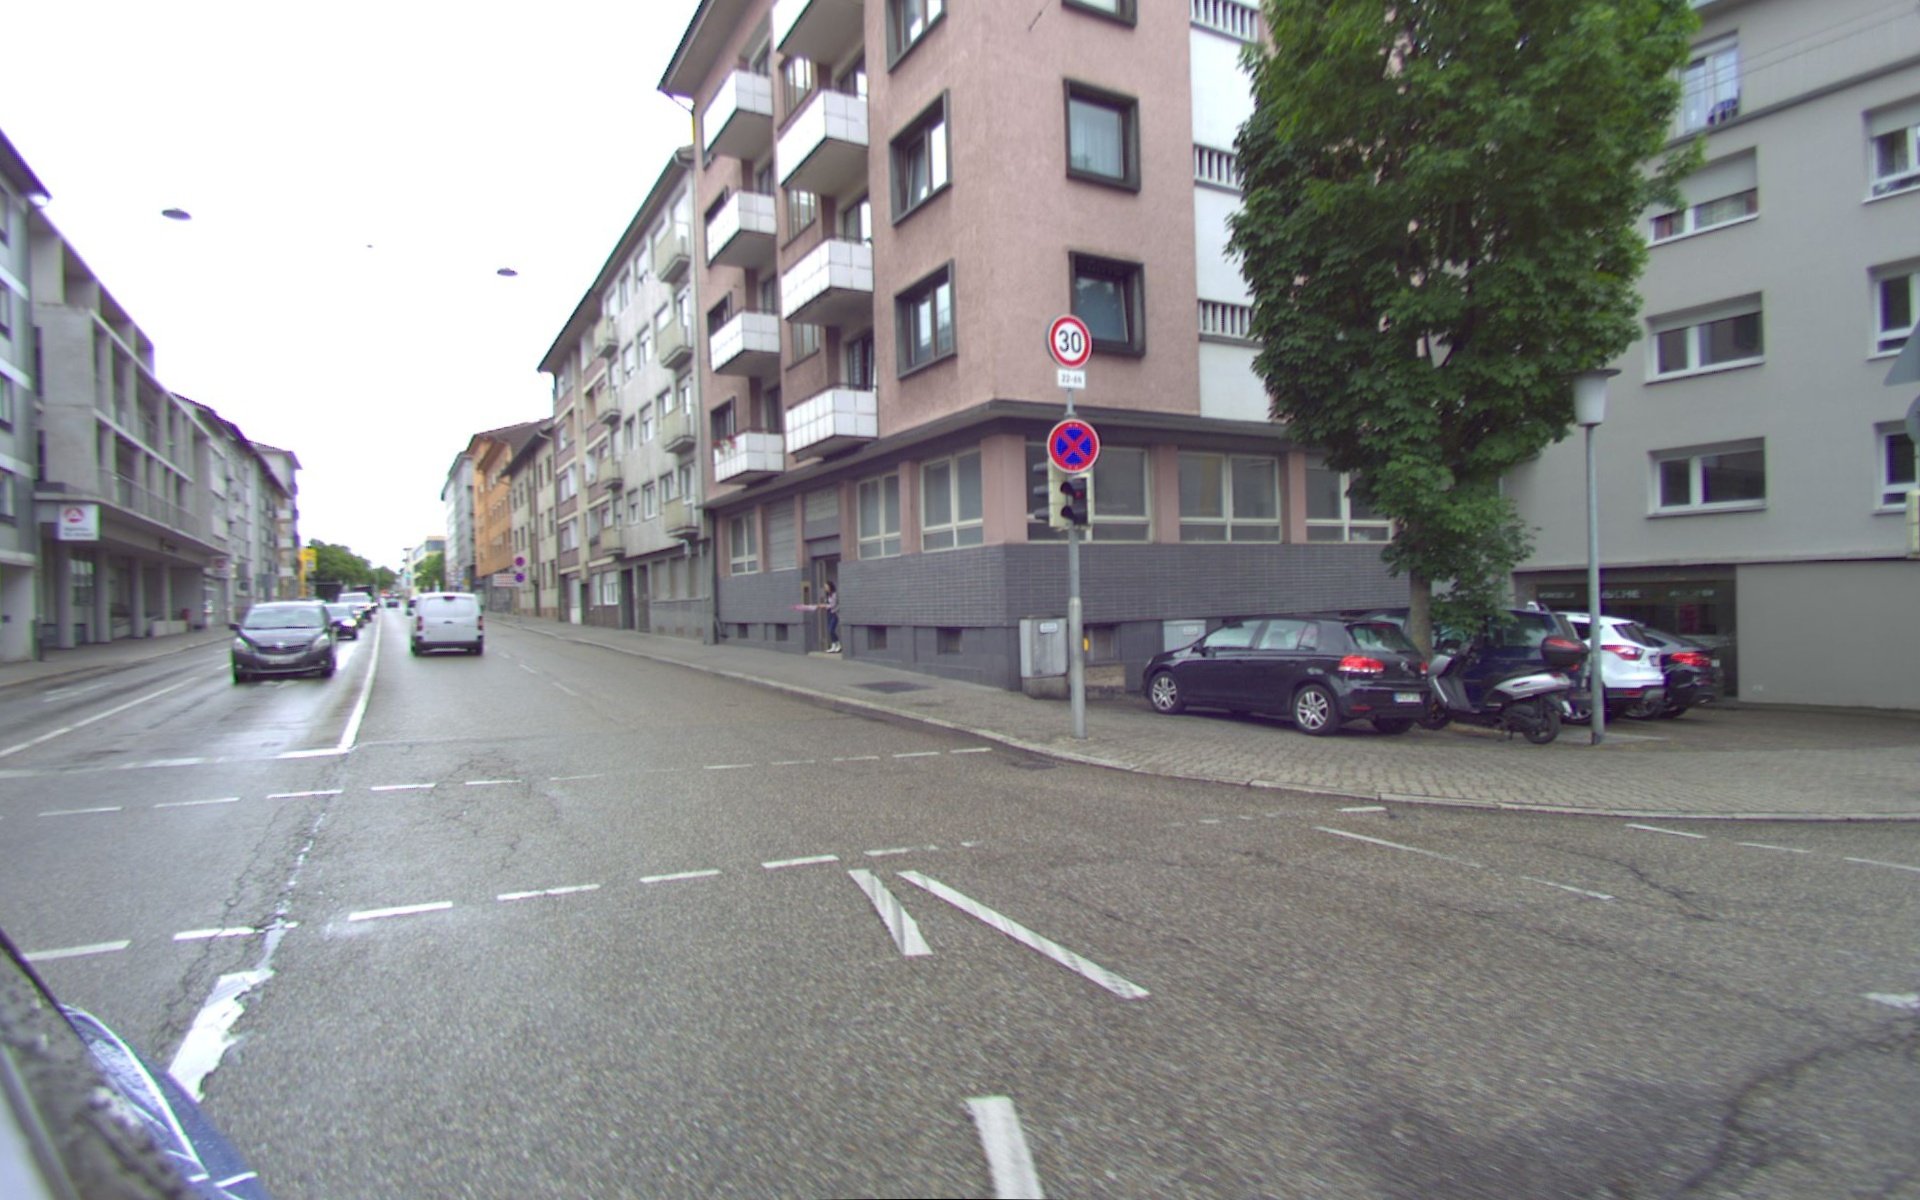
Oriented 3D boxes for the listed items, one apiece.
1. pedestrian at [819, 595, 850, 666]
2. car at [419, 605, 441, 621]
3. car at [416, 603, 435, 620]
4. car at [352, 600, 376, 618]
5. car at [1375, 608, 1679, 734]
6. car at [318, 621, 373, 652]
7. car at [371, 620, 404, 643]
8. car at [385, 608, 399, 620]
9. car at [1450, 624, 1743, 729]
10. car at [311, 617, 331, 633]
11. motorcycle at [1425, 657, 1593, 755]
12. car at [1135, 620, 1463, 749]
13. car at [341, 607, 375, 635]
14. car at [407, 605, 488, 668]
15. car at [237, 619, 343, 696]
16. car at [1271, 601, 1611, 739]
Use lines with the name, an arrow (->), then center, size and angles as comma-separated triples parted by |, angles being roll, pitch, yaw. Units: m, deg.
pedestrian -> -2.889, 0.695, 23.372 | 0.529, 1.569, 0.445 | 3, 6, 35
car -> -51.214, 1.232, 97.742 | 1.703, 1.472, 4.084 | 2, -1, -30
car -> -57.586, 1.193, 109.003 | 1.693, 1.674, 3.691 | -2, 1, -28
car -> -57.898, 0.849, 98.345 | 1.821, 1.674, 3.691 | -2, 1, -28
car -> 9.163, 1.105, 16.556 | 4.002, 1.807, 1.833 | -1, -5, 45
car -> -25.367, 1.478, 41.743 | 1.666, 1.157, 4.010 | 1, -1, -35
car -> -32.401, 1.763, 57.343 | 1.521, 1.076, 3.106 | -2, 1, -28
car -> -84.292, 2.033, 150.112 | 1.693, 1.674, 3.691 | -2, 1, -28
car -> 11.015, 1.271, 17.698 | 1.833, 1.507, 4.004 | 5, -3, -43
car -> -76.136, 2.934, 120.528 | 1.693, 1.674, 3.691 | -2, 1, -28
motorcycle -> 6.744, 1.265, 12.509 | 0.446, 1.040, 1.798 | 1, -1, -38
car -> 4.374, 1.029, 13.661 | 1.708, 1.370, 4.012 | 2, -1, -31
car -> -39.291, 1.367, 66.120 | 1.693, 1.674, 3.691 | -2, 1, -28
car -> -15.299, 1.052, 30.088 | 1.781, 1.728, 4.560 | 3, -2, -31
car -> -14.660, 1.192, 22.306 | 1.703, 1.492, 4.084 | -1, -1, -30
car -> 7.163, 0.972, 15.298 | 4.341, 1.741, 1.751 | 1, -3, 38
